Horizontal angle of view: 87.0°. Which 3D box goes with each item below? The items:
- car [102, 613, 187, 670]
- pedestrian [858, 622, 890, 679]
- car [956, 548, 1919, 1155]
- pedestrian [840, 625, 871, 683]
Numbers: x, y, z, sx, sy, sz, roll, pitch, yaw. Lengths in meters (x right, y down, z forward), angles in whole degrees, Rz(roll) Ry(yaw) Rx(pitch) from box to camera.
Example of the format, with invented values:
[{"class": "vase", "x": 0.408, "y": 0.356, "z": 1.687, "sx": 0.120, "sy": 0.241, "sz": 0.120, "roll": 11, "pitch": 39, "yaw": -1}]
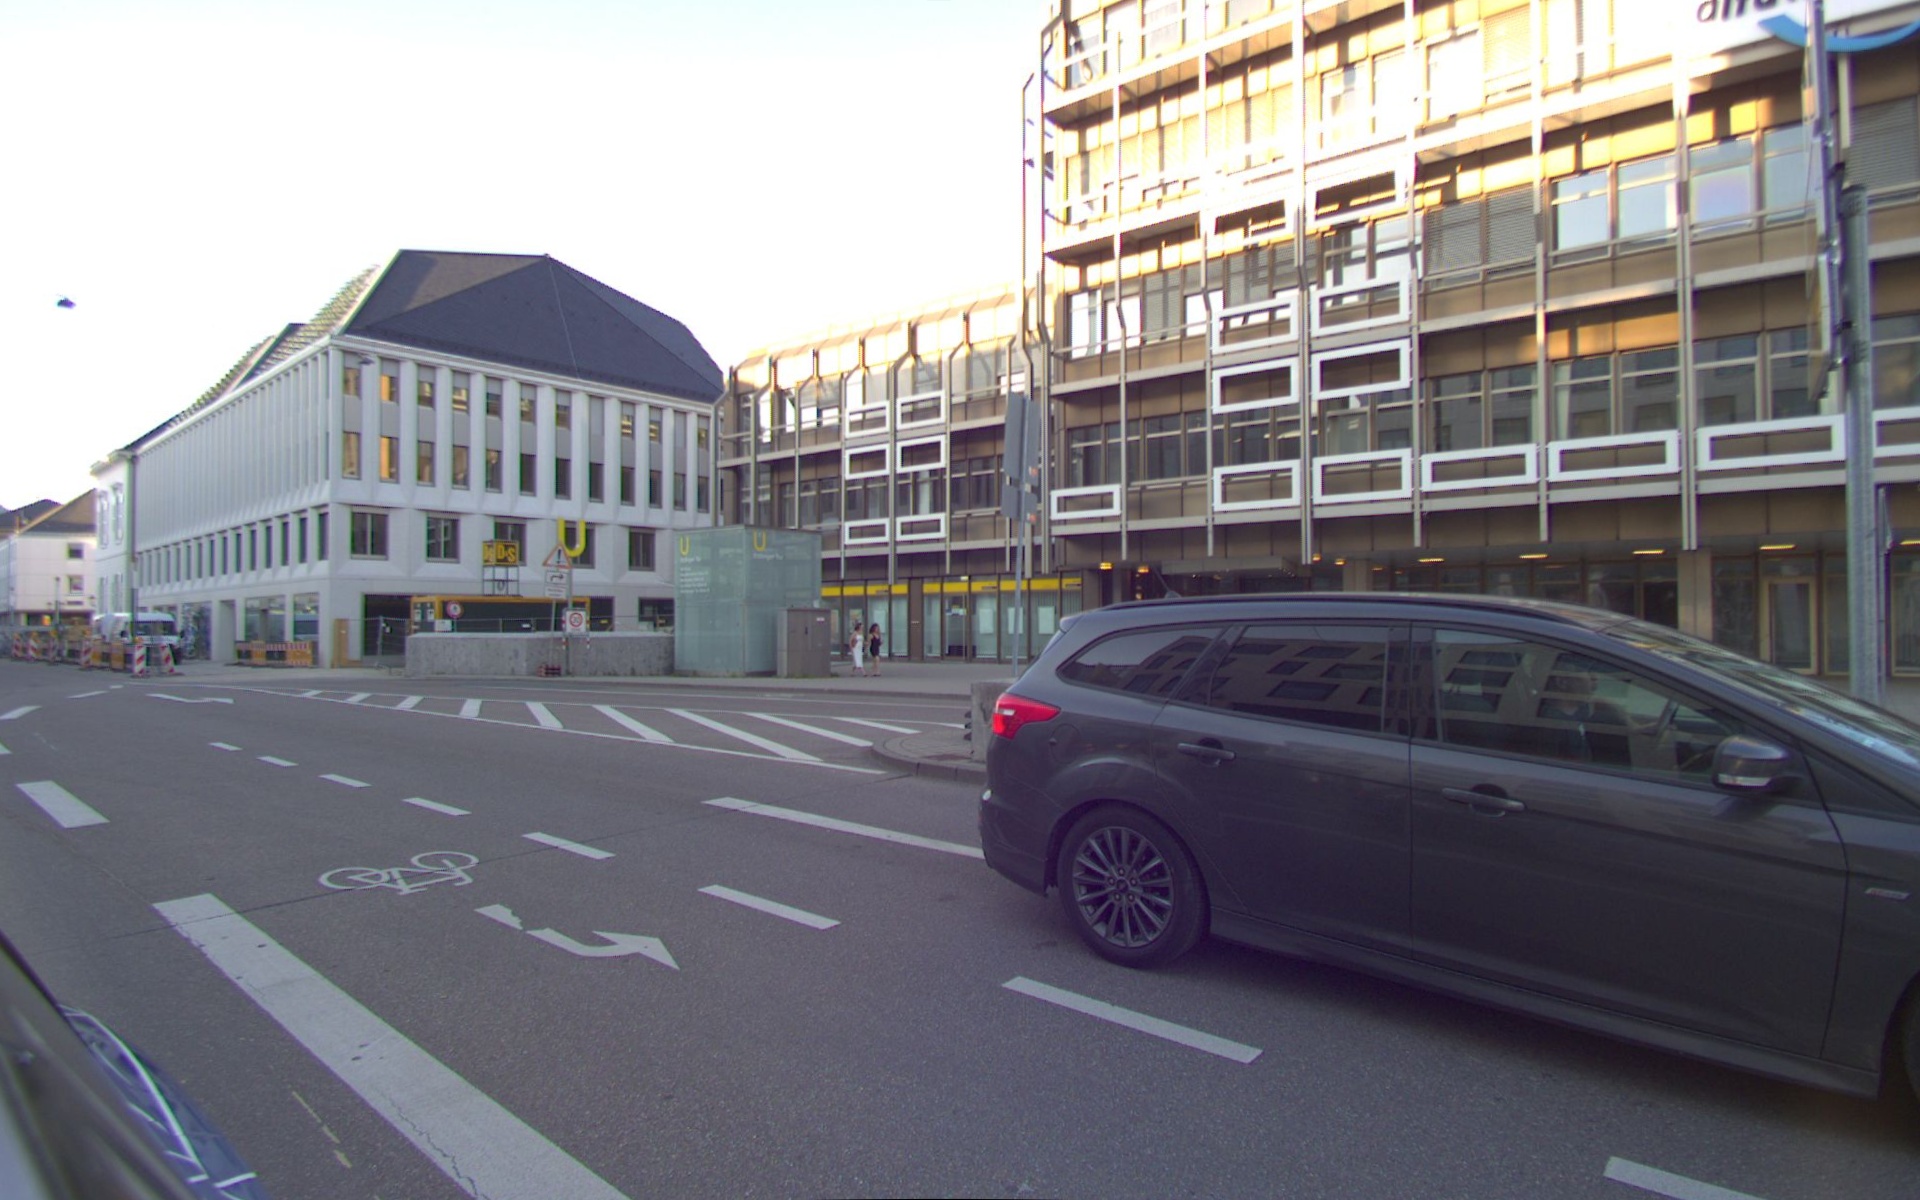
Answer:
[{"class": "car", "x": -38.839, "y": 1.957, "z": 48.161, "sx": 6.047, "sy": 2.575, "sz": 2.114, "roll": -2, "pitch": -3, "yaw": 41}, {"class": "pedestrian", "x": -2.554, "y": 1.487, "z": 30.002, "sx": 0.702, "sy": 1.652, "sz": 0.608, "roll": -2, "pitch": -3, "yaw": 41}, {"class": "car", "x": 2.217, "y": 0.624, "z": 3.688, "sx": 4.377, "sy": 1.473, "sz": 1.740, "roll": -2, "pitch": -1, "yaw": 40}, {"class": "pedestrian", "x": -3.036, "y": 1.557, "z": 29.388, "sx": 0.583, "sy": 1.652, "sz": 0.662, "roll": -2, "pitch": -3, "yaw": 41}]
